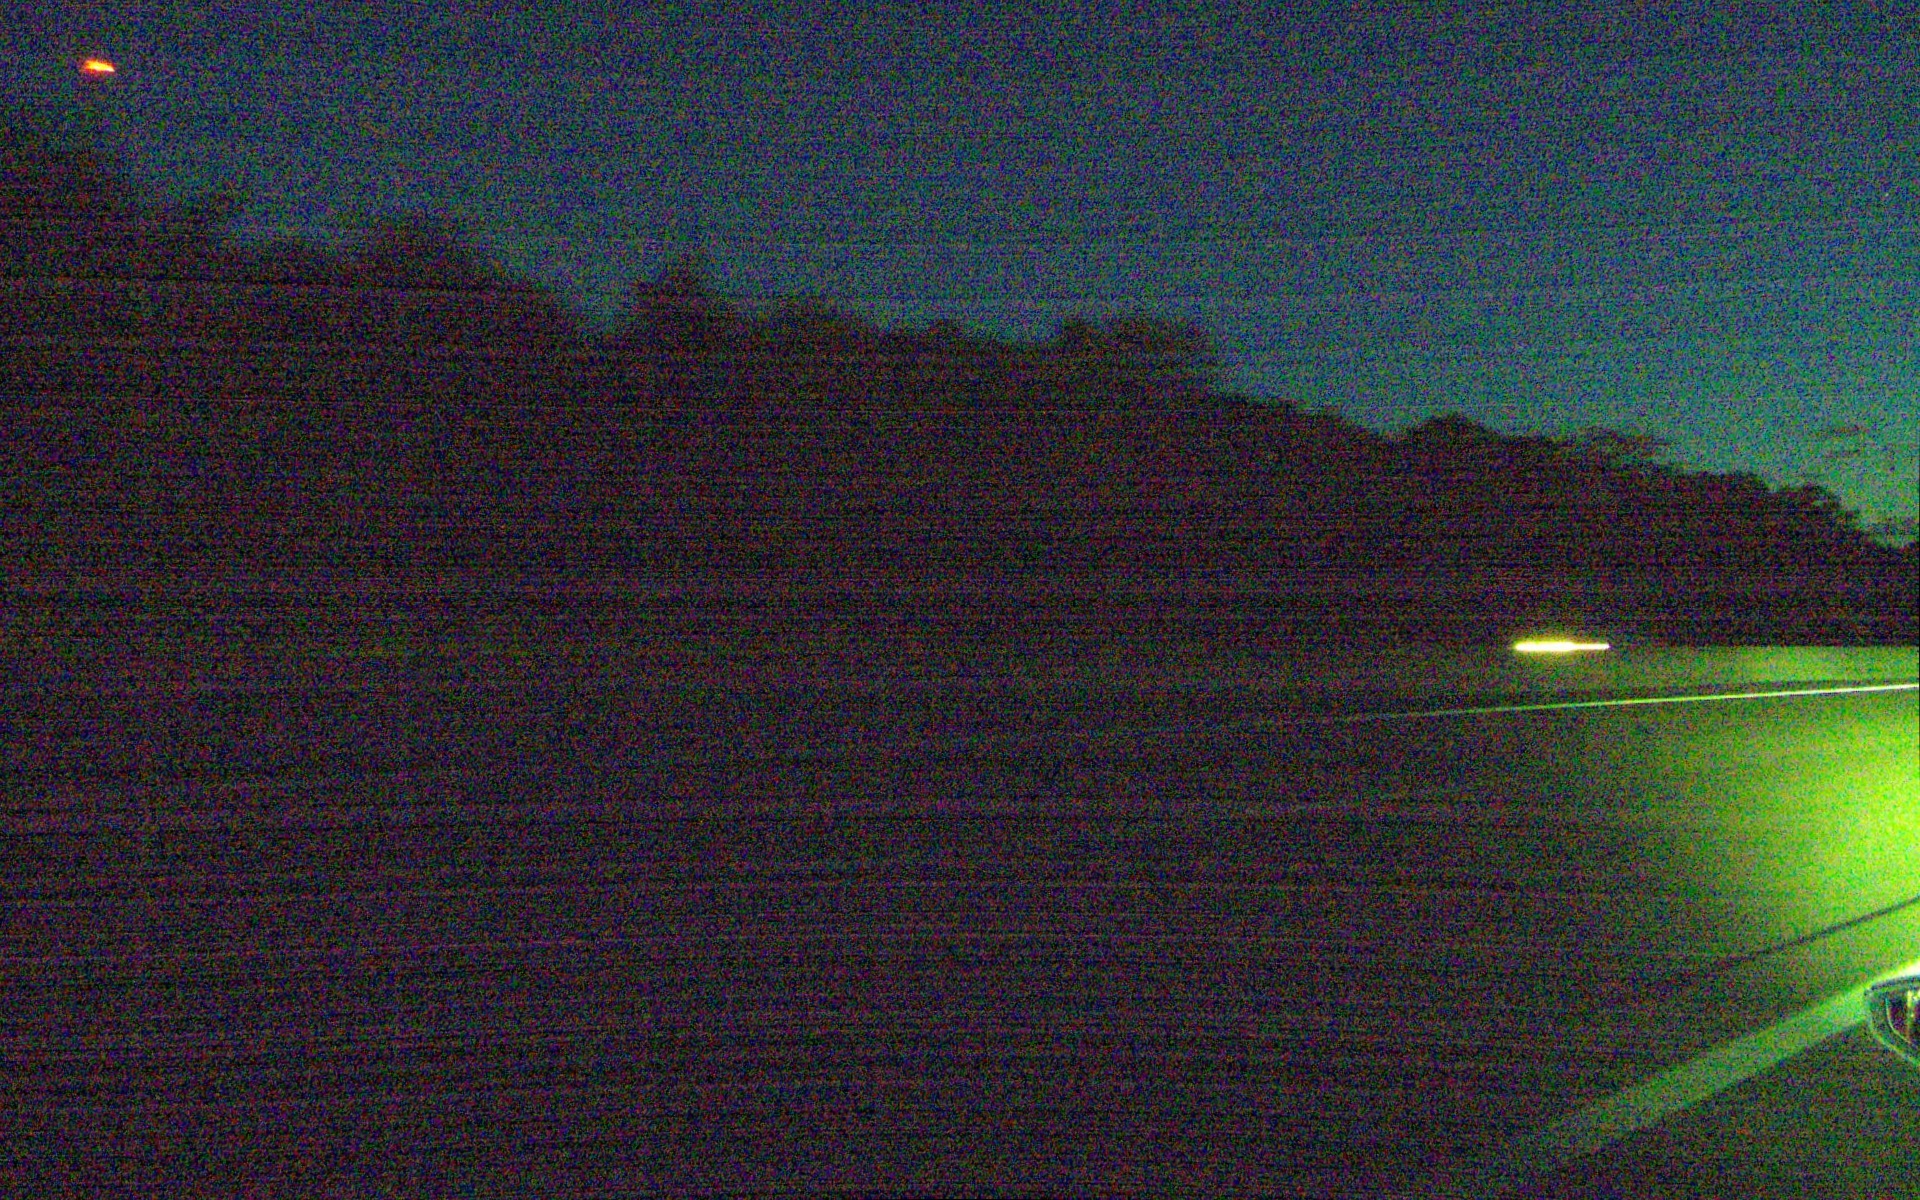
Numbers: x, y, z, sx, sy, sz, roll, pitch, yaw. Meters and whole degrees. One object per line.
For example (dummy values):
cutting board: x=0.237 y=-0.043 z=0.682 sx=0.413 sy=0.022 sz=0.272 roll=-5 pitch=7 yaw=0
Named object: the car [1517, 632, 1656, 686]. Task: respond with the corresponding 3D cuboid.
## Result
car: x=21.734 y=2.024 z=34.789 sx=5.051 sy=1.673 sz=1.999 roll=2 pitch=0 yaw=-31
